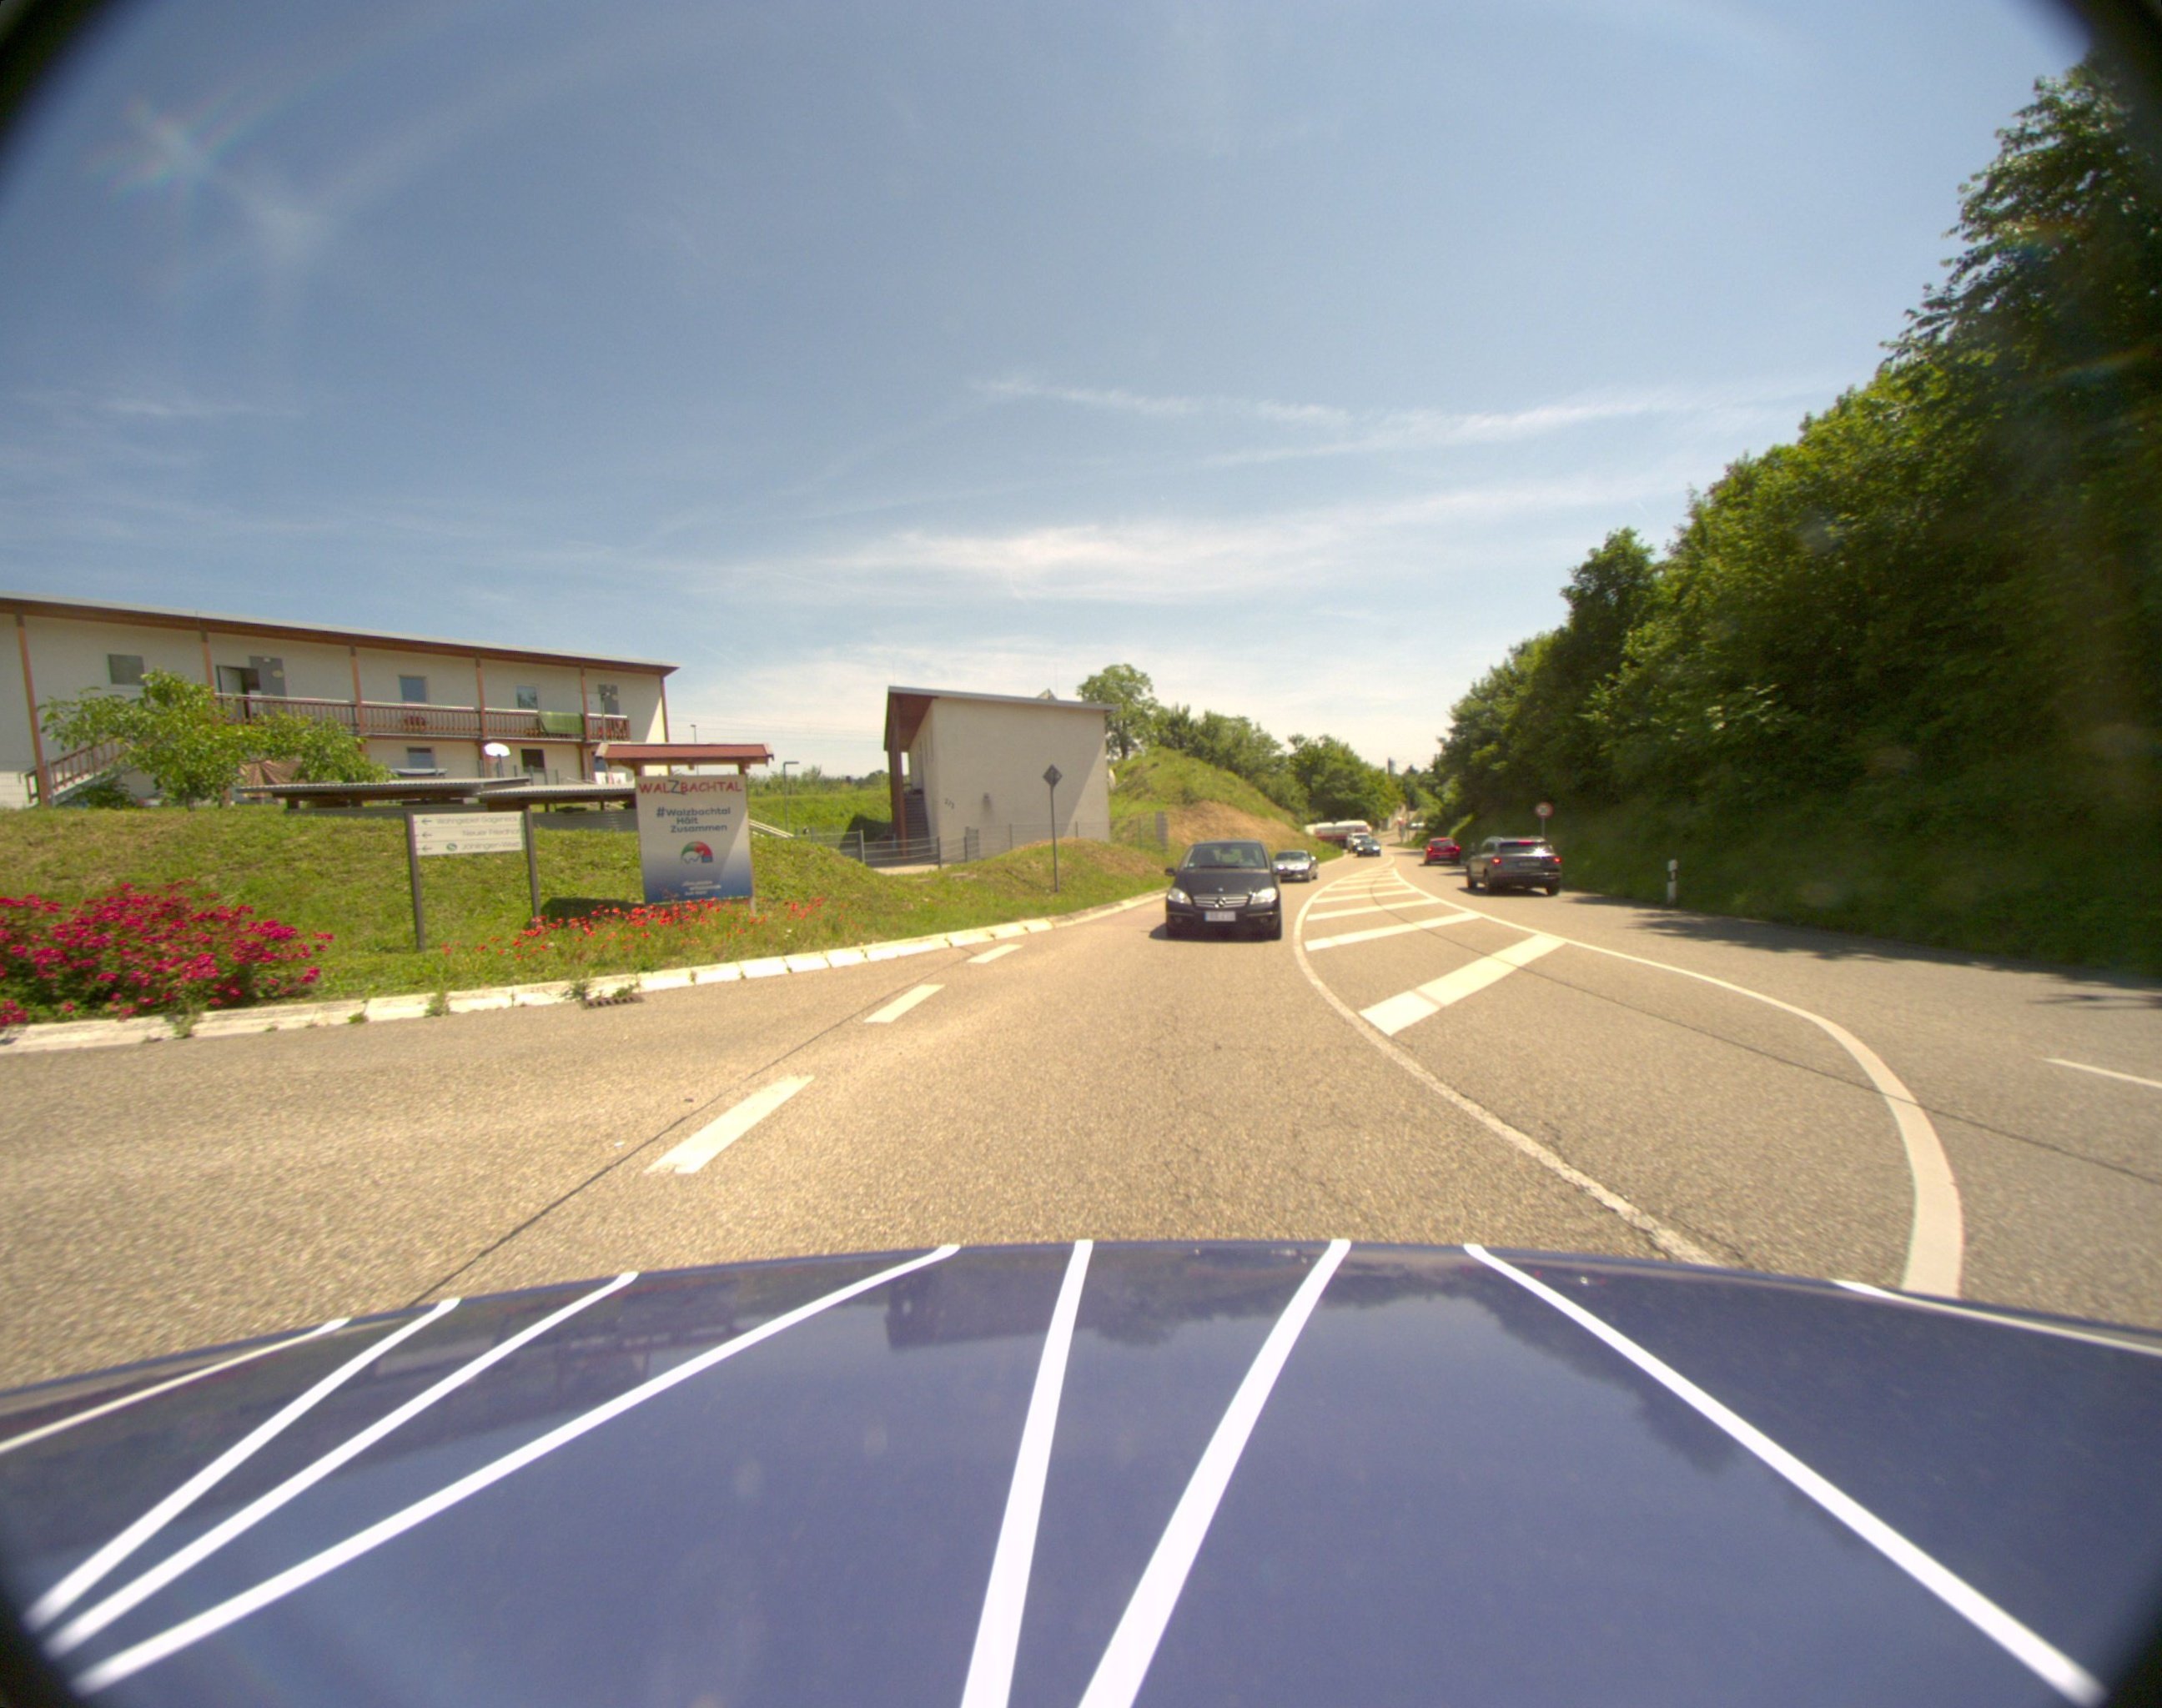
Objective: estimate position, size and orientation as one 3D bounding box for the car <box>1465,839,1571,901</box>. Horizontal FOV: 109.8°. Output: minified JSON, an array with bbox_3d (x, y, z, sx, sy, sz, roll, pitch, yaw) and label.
[{"bbox_3d":[12.534,0.398,22.055,1.793,1.596,4.184,0,1,17],"label":"car"}]

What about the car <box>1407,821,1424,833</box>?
[{"bbox_3d":[56.524,-4.592,128.488,1.995,1.499,4.004,-3,5,32],"label":"car"}]

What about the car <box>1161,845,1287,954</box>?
[{"bbox_3d":[2.606,0.640,13.141,1.793,1.570,3.804,0,1,16],"label":"car"}]

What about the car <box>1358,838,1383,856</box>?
[{"bbox_3d":[23.208,-0.574,60.765,1.752,1.281,4.151,-3,1,22],"label":"car"}]

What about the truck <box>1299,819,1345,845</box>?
[{"bbox_3d":[32.218,-2.919,101.818,2.635,3.153,7.059,-3,2,-12],"label":"truck"}]

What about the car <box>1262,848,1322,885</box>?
[{"bbox_3d":[8.440,0.471,30.180,1.644,1.315,3.444,-2,1,26],"label":"car"}]

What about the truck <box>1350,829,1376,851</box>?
[{"bbox_3d":[27.985,-1.401,75.480,2.068,2.001,5.250,-3,1,18],"label":"truck"}]

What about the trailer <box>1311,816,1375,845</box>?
[{"bbox_3d":[33.131,-2.916,96.755,2.642,3.354,11.130,-3,2,-10],"label":"trailer"}]

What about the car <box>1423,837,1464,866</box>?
[{"bbox_3d":[19.730,-0.170,41.426,1.751,1.440,4.005,0,2,22],"label":"car"}]
